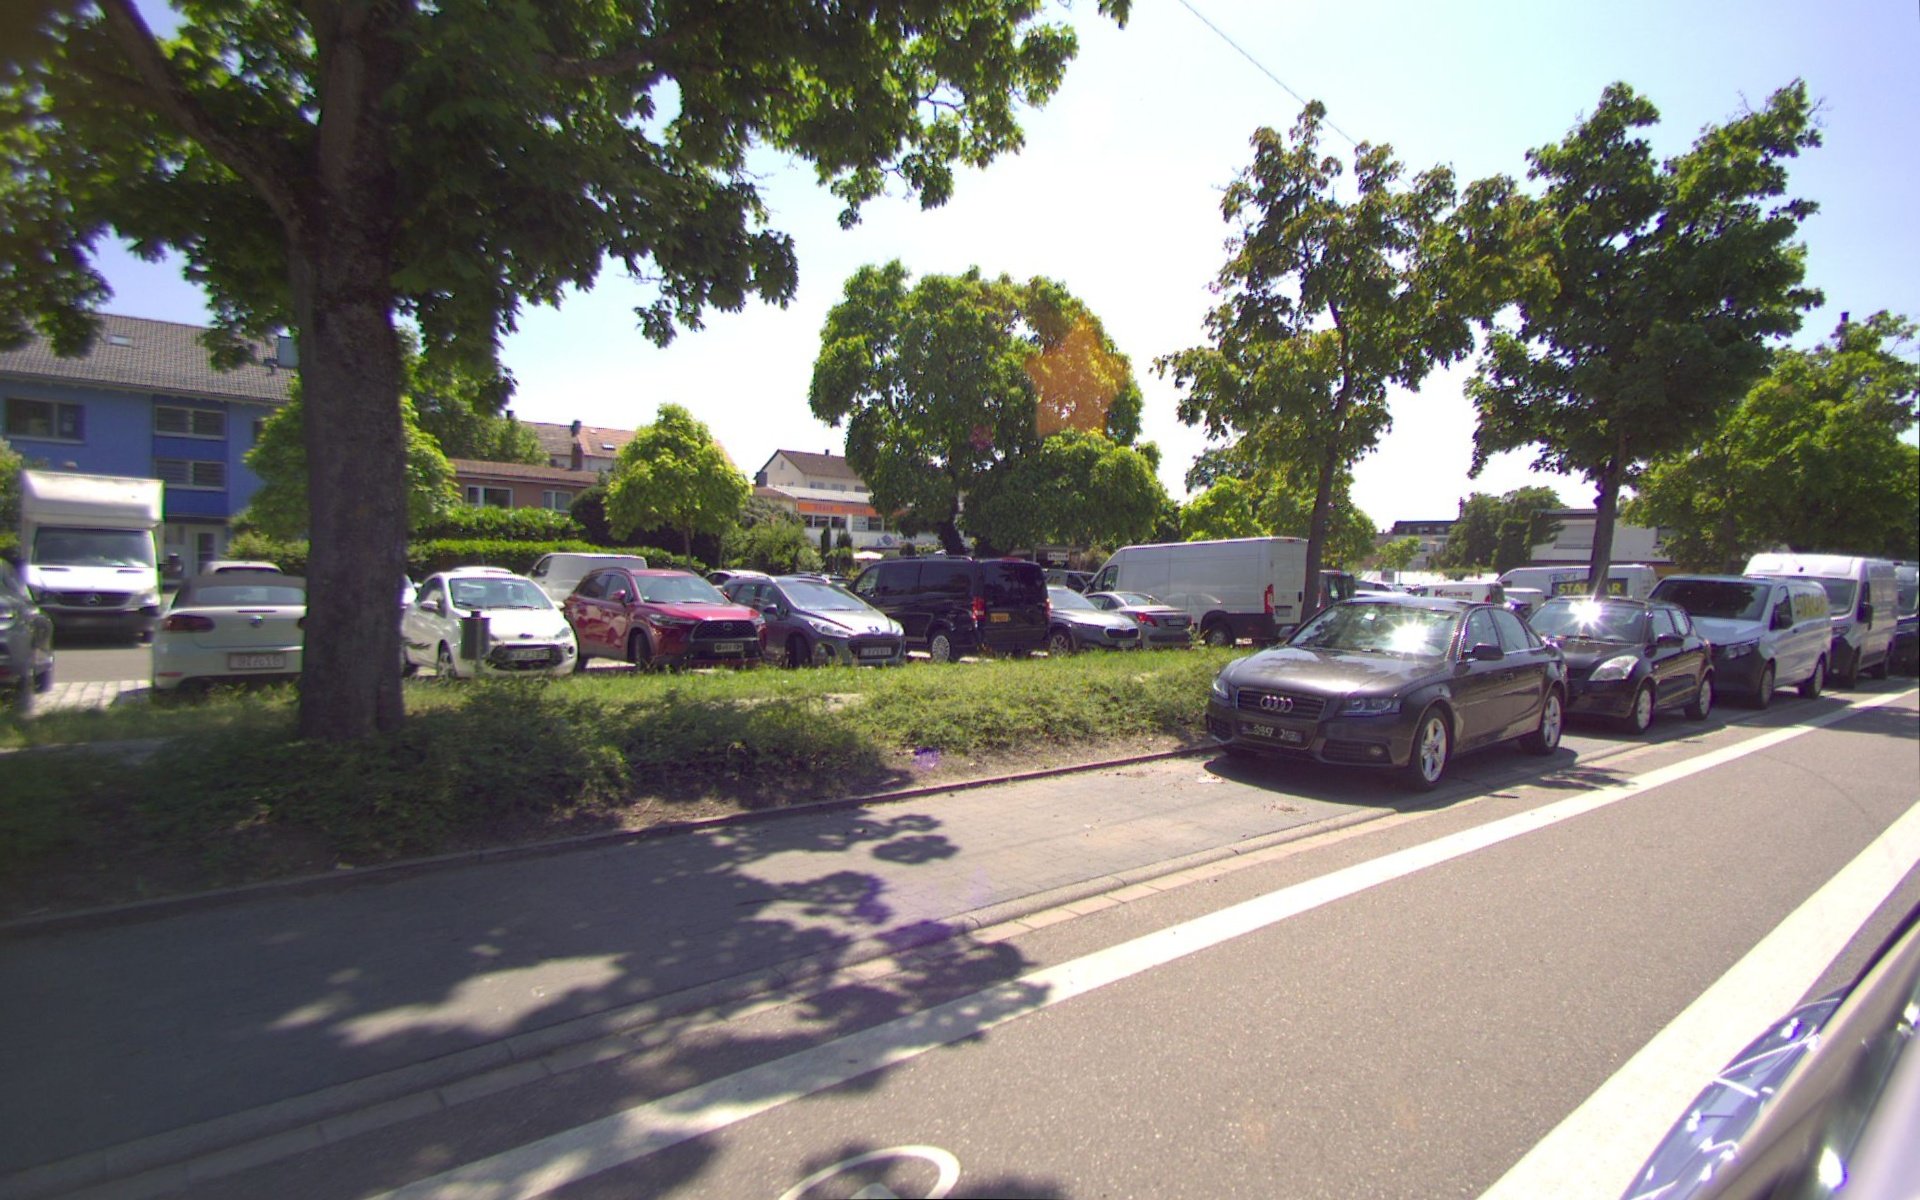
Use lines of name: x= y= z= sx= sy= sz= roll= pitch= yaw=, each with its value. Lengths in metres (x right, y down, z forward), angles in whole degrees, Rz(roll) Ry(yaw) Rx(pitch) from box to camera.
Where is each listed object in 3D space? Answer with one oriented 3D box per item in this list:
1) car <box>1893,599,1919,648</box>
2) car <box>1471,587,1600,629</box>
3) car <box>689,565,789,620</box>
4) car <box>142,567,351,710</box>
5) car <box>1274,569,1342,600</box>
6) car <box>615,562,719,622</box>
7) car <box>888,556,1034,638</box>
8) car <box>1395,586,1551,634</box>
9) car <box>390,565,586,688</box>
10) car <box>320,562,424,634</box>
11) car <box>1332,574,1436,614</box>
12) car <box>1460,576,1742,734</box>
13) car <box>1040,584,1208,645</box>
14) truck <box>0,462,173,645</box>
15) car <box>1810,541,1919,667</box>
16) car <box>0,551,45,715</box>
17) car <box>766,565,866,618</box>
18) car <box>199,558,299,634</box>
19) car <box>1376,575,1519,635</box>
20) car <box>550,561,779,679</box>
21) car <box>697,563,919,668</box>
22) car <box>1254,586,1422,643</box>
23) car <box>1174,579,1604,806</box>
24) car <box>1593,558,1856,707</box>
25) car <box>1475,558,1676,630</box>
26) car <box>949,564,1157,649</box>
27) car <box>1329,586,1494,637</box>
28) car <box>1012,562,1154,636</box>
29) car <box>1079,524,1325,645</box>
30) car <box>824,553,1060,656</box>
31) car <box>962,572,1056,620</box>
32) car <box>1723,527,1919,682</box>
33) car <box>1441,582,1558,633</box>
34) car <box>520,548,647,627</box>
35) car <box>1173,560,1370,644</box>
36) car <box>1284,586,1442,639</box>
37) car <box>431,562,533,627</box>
car: x=30.914 y=0.760 z=31.859 sx=4.134 sy=1.445 sz=1.726 roll=0 pitch=4 yaw=-40
car: x=21.511 y=0.283 z=37.906 sx=1.698 sy=1.491 sz=3.891 roll=0 pitch=0 yaw=-42
car: x=-6.760 y=-0.263 z=30.719 sx=1.651 sy=1.446 sz=3.345 roll=1 pitch=3 yaw=-38
car: x=-8.446 y=0.376 z=11.848 sx=1.738 sy=1.375 sz=3.868 roll=0 pitch=0 yaw=-39
car: x=29.127 y=-1.343 z=84.919 sx=1.965 sy=2.443 sz=5.083 roll=1 pitch=1 yaw=-40
car: x=-8.196 y=-0.242 z=28.156 sx=1.651 sy=1.446 sz=3.345 roll=1 pitch=3 yaw=-38
car: x=-0.074 y=-0.186 z=35.714 sx=2.057 sy=2.489 sz=5.505 roll=1 pitch=3 yaw=-39
car: x=17.547 y=0.331 z=34.769 sx=1.921 sy=1.524 sz=4.410 roll=0 pitch=0 yaw=-43
car: x=-6.477 y=0.312 z=13.731 sx=1.652 sy=1.446 sz=3.341 roll=0 pitch=0 yaw=-39
car: x=-13.855 y=-0.098 z=23.767 sx=1.651 sy=1.446 sz=3.476 roll=1 pitch=3 yaw=-38
car: x=23.448 y=-0.362 z=56.122 sx=1.875 sy=1.923 sz=4.929 roll=0 pitch=3 yaw=-40
car: x=7.941 y=0.579 z=12.433 sx=3.770 sy=1.559 sz=1.717 roll=1 pitch=4 yaw=-39
car: x=3.480 y=0.296 z=21.892 sx=1.652 sy=1.204 sz=3.341 roll=0 pitch=0 yaw=-39
truck: x=-17.784 y=-1.003 z=20.649 sx=2.382 sy=3.122 sz=6.963 roll=0 pitch=3 yaw=-41
car: x=22.524 y=0.070 z=24.422 sx=5.972 sy=2.668 sz=2.002 roll=0 pitch=4 yaw=-41
car: x=-10.529 y=0.303 z=10.322 sx=1.740 sy=1.508 sz=3.865 roll=0 pitch=0 yaw=-42
car: x=-4.554 y=-0.297 z=31.700 sx=1.651 sy=1.446 sz=3.345 roll=1 pitch=3 yaw=-38
car: x=-15.875 y=-0.133 z=22.539 sx=1.651 sy=1.446 sz=3.345 roll=1 pitch=3 yaw=-38
car: x=15.801 y=0.155 z=32.889 sx=1.922 sy=1.807 sz=3.781 roll=0 pitch=0 yaw=-44
car: x=-4.518 y=0.262 z=15.114 sx=1.739 sy=1.510 sz=4.027 roll=0 pitch=0 yaw=-41
car: x=-2.602 y=0.233 z=16.653 sx=1.739 sy=1.510 sz=4.027 roll=0 pitch=0 yaw=-41
car: x=10.112 y=0.356 z=27.245 sx=1.699 sy=1.424 sz=3.888 roll=0 pitch=0 yaw=-44
car: x=4.034 y=0.623 z=9.067 sx=4.628 sy=1.435 sz=1.715 roll=0 pitch=4 yaw=-43
car: x=12.147 y=0.422 z=15.937 sx=5.180 sy=1.901 sz=2.004 roll=1 pitch=4 yaw=-39
car: x=23.835 y=-0.211 z=39.493 sx=2.221 sy=2.561 sz=6.358 roll=0 pitch=0 yaw=-37
car: x=1.743 y=0.120 z=20.043 sx=1.739 sy=1.510 sz=4.027 roll=0 pitch=0 yaw=-41
car: x=13.613 y=0.324 z=30.702 sx=1.698 sy=1.424 sz=4.281 roll=0 pitch=0 yaw=-42
car: x=4.642 y=-0.125 z=39.207 sx=2.057 sy=2.489 sz=5.505 roll=1 pitch=3 yaw=-39
car: x=5.483 y=-0.321 z=23.689 sx=2.057 sy=2.491 sz=5.502 roll=0 pitch=0 yaw=-39
car: x=-0.482 y=0.076 z=18.819 sx=1.919 sy=1.665 sz=4.702 roll=0 pitch=0 yaw=-39
car: x=1.789 y=-0.176 z=37.480 sx=1.651 sy=1.564 sz=3.345 roll=1 pitch=3 yaw=-38
car: x=17.488 y=0.044 z=20.407 sx=6.035 sy=2.668 sz=2.002 roll=0 pitch=4 yaw=-41
car: x=19.471 y=0.251 z=36.615 sx=1.697 sy=1.739 sz=3.378 roll=0 pitch=0 yaw=-40
car: x=-9.999 y=-0.391 z=26.718 sx=1.724 sy=1.829 sz=4.005 roll=0 pitch=3 yaw=-43
car: x=7.793 y=0.050 z=25.595 sx=1.922 sy=1.933 sz=4.408 roll=0 pitch=0 yaw=-44
car: x=11.509 y=0.333 z=29.050 sx=1.698 sy=1.424 sz=3.891 roll=0 pitch=0 yaw=-42
car: x=-12.254 y=-0.177 z=25.860 sx=1.651 sy=1.446 sz=3.345 roll=1 pitch=3 yaw=-38
